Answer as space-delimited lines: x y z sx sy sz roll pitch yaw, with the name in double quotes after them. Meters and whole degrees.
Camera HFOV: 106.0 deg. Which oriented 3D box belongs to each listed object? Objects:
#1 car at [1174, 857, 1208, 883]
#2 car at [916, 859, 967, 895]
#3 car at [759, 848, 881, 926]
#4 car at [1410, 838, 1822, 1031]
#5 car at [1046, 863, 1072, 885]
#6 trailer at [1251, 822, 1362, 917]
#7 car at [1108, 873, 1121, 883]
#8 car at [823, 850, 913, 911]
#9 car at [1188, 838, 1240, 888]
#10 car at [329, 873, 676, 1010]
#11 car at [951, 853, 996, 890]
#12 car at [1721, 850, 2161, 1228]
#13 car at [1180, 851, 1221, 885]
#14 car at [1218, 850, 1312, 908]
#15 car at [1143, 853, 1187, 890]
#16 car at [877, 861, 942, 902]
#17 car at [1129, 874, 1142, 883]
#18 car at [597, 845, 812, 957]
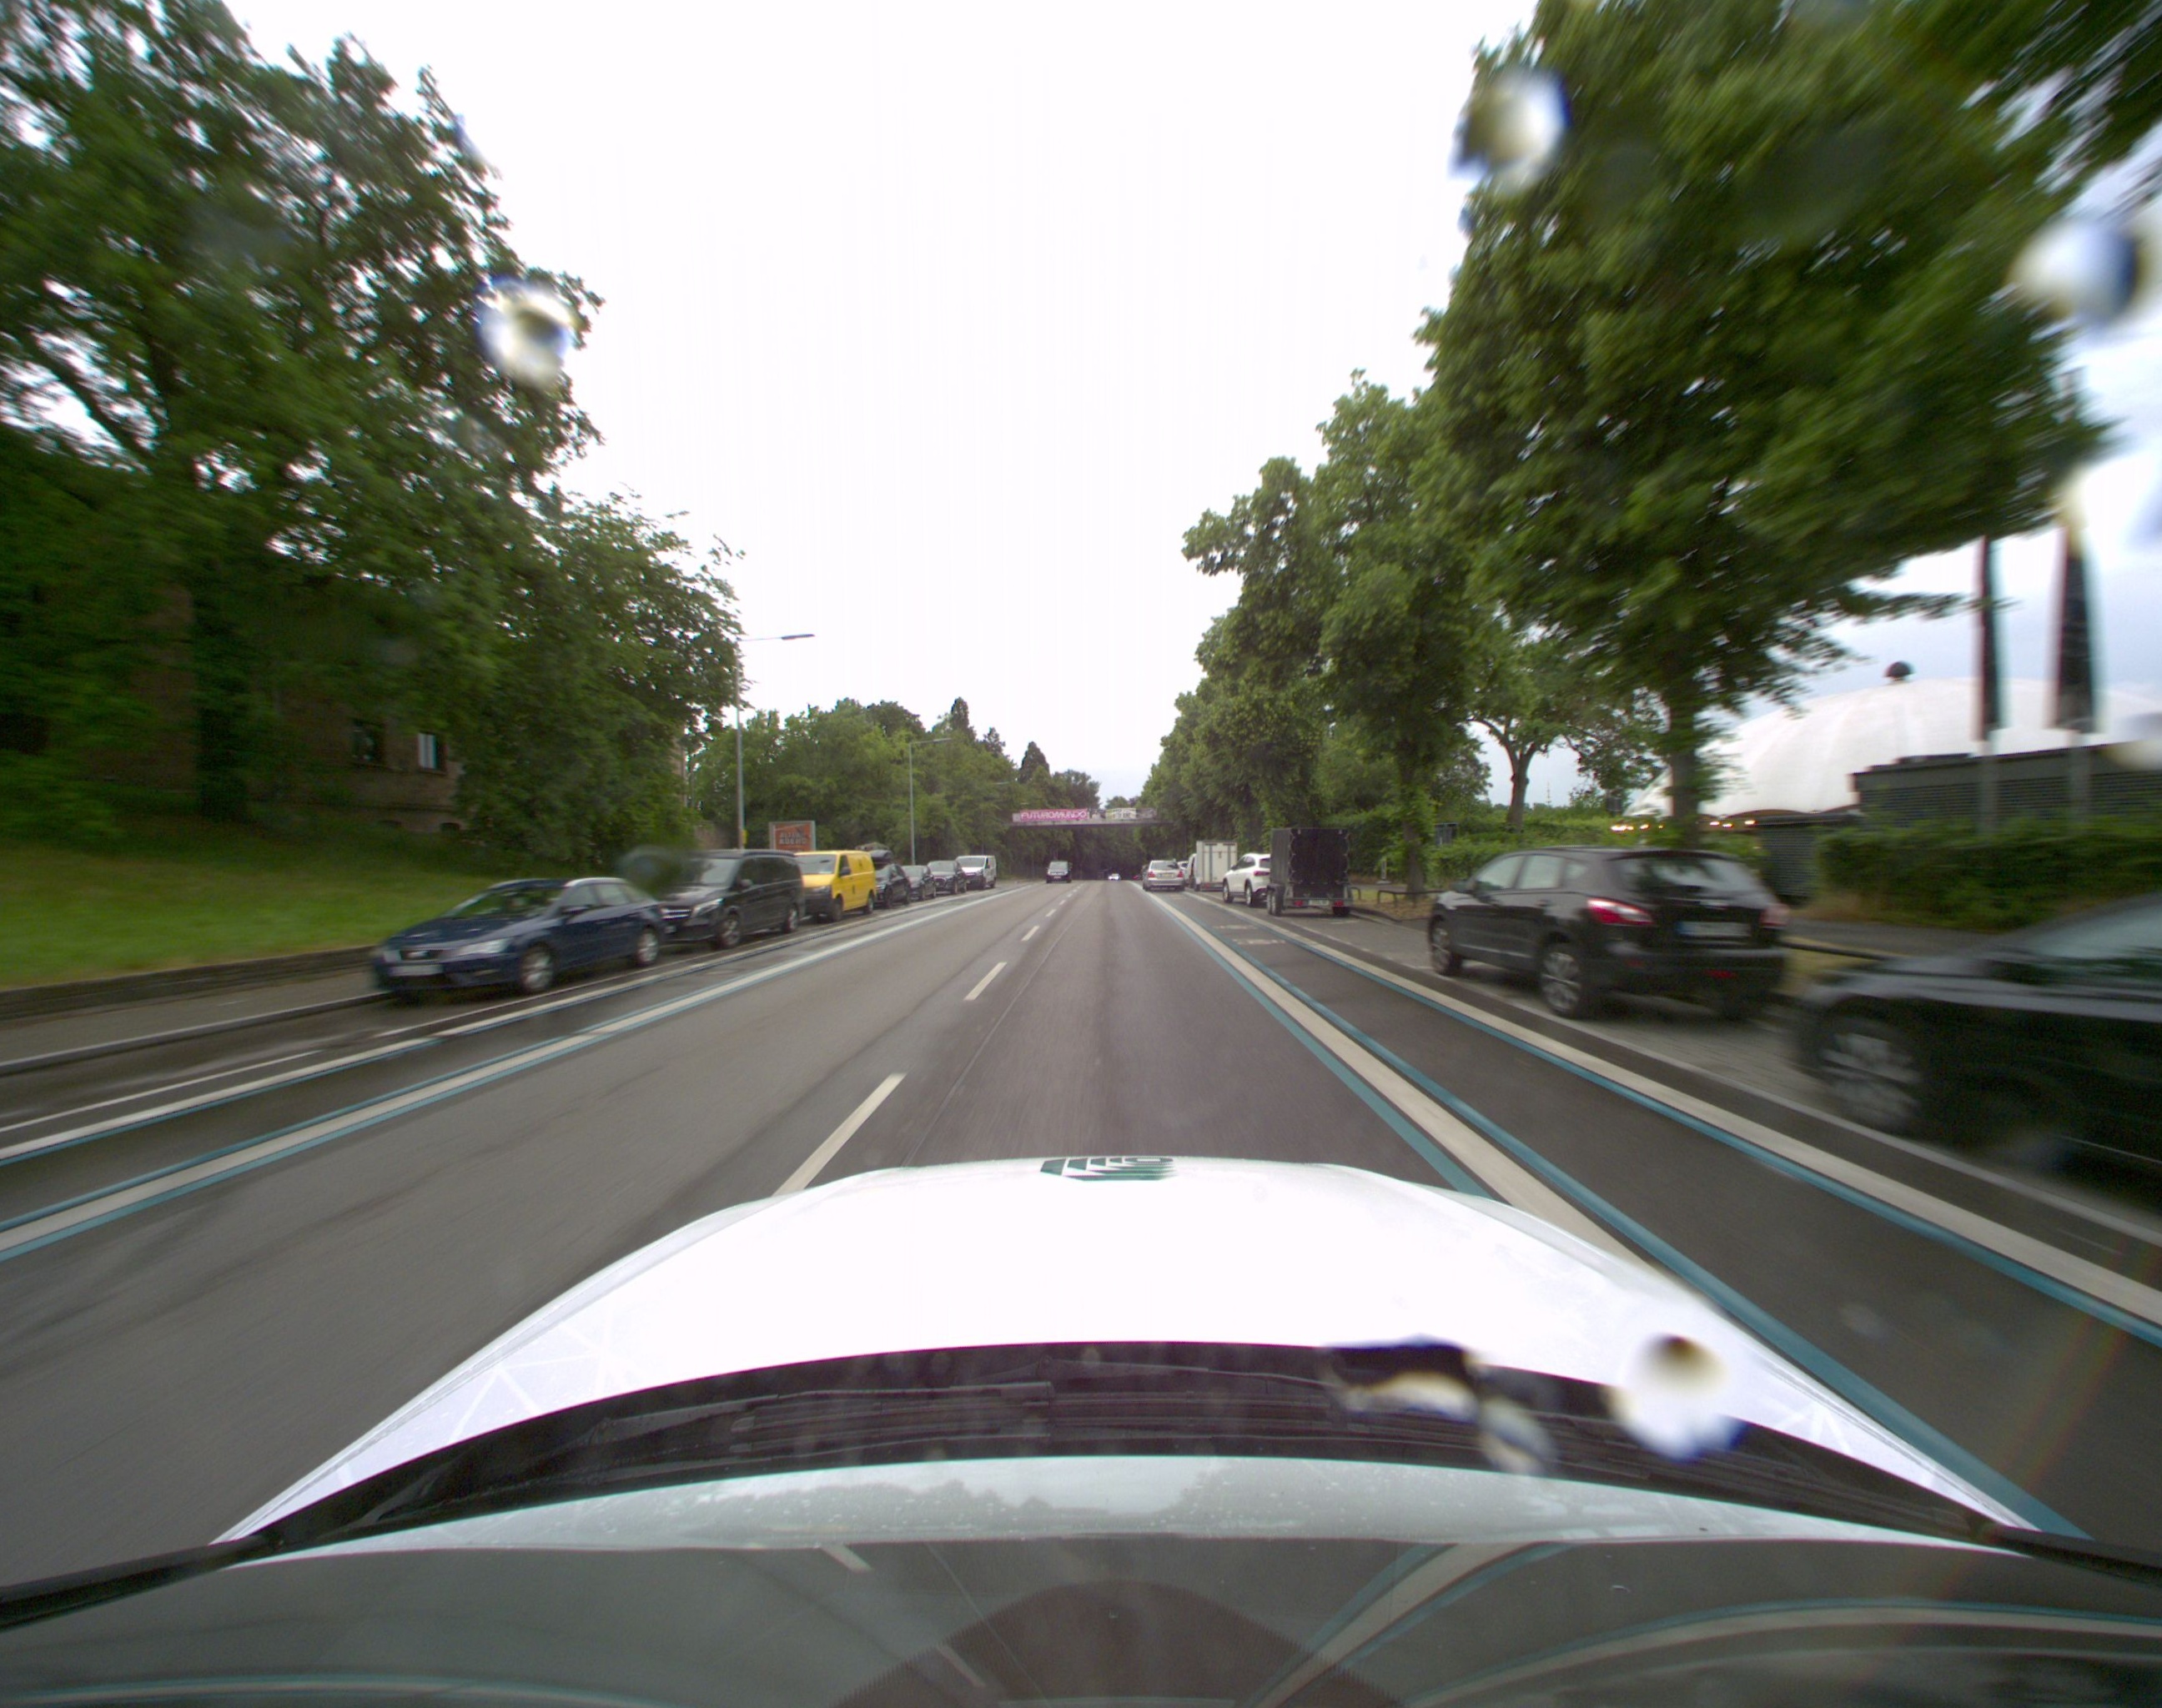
6.704 0.922 49.837 1.724 1.462 4.048 -1 0 3 "car"
-6.762 1.077 39.830 1.865 1.542 4.052 -1 1 -1 "car"
-7.298 0.820 23.331 1.876 1.945 4.826 -1 1 0 "car"
5.248 0.665 8.778 1.725 1.583 4.154 0 0 0 "car"
-1.611 1.473 60.202 1.864 1.473 4.052 -2 0 -1 "car"
5.676 0.365 20.978 1.876 2.166 3.810 -1 0 2 "trailer"
6.181 4.468 149.863 1.978 1.605 4.065 -1 0 9 "car"
-7.330 0.859 28.413 1.983 1.893 4.055 -1 1 1 "car"
6.077 0.407 37.587 1.881 2.127 4.048 -1 0 3 "car"
-7.782 1.059 11.610 1.725 1.390 4.371 -1 1 1 "car"
-6.191 0.984 47.265 1.749 1.931 4.198 -1 1 4 "car"
5.056 0.715 3.310 1.725 1.463 4.072 0 0 0 "car"
6.273 0.708 42.989 1.724 1.684 4.048 -1 0 3 "car"
5.557 0.700 25.095 1.727 1.583 4.149 -1 0 -3 "car"
3.878 0.786 38.253 1.725 1.583 4.037 -1 0 1 "car"
-7.071 1.096 33.913 1.880 1.451 3.981 -1 1 -1 "car"
10.320 4.644 154.312 2.128 1.492 4.508 -1 1 7 "car"
-7.561 0.810 17.072 1.983 1.946 5.143 -1 1 1 "car"
